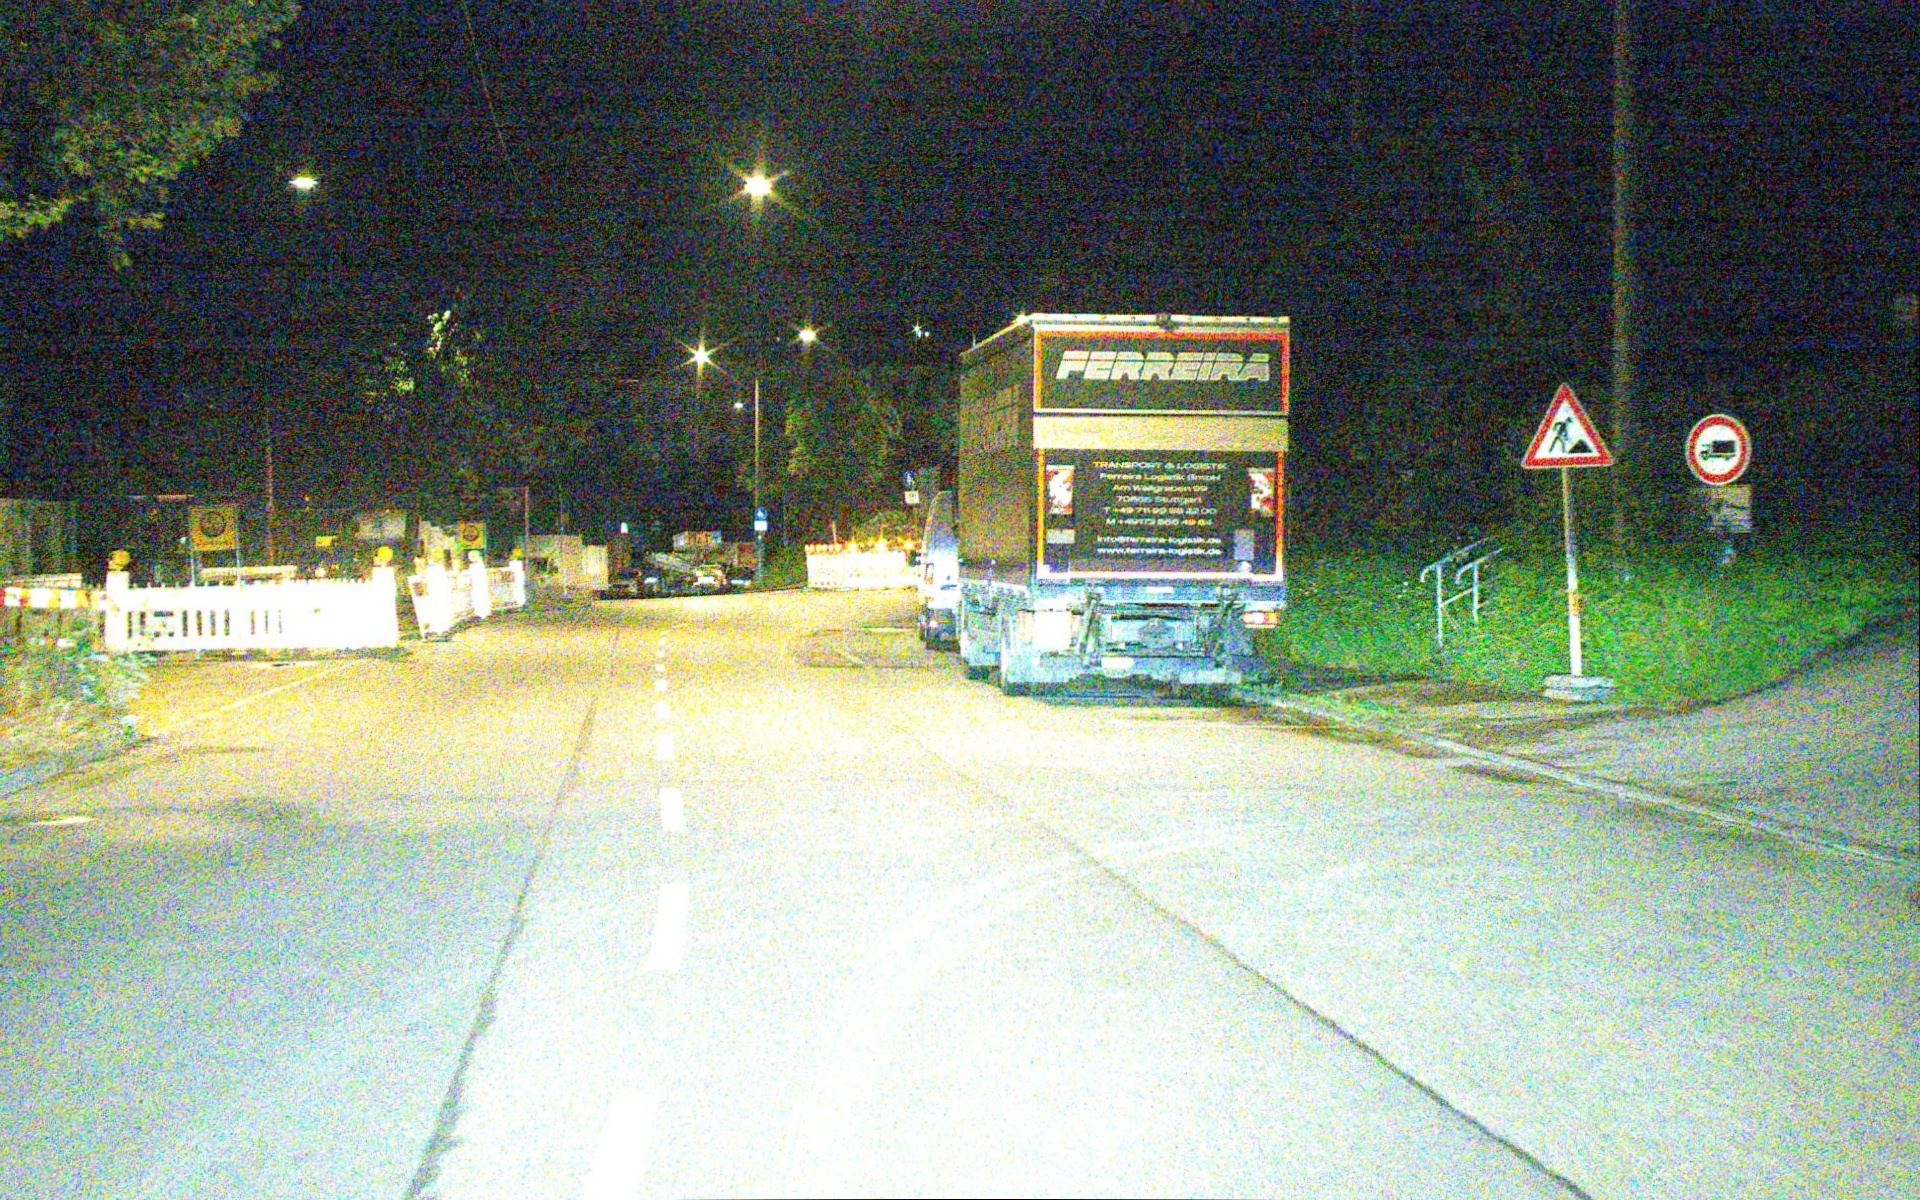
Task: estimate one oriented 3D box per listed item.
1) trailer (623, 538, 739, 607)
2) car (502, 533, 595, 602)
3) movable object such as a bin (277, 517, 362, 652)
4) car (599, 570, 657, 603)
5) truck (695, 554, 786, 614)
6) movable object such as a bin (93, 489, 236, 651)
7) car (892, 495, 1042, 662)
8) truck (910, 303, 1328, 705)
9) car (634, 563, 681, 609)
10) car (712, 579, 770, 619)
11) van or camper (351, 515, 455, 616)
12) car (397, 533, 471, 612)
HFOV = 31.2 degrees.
[{"bbox_3d":[-9.340,-0.915,114.768,1.559,2.153,5.221,-2,0,-32],"label":"trailer"},{"bbox_3d":[-19.787,-1.582,165.709,2.520,3.160,7.135,-2,1,9],"label":"car"},{"bbox_3d":[-13.715,-0.375,73.528,1.570,2.724,3.702,-3,2,-12],"label":"movable object such as a bin"},{"bbox_3d":[-17.549,-0.694,182.065,1.994,1.694,4.204,0,0,10],"label":"car"},{"bbox_3d":[-12.767,-0.975,200.410,1.995,3.392,8.971,1,1,19],"label":"truck"},{"bbox_3d":[-12.536,-0.465,54.077,1.548,2.459,2.840,-2,1,-26],"label":"movable object such as a bin"},{"bbox_3d":[0.045,-0.397,55.360,2.108,2.507,6.372,1,1,-2],"label":"car"},{"bbox_3d":[1.482,-0.983,37.963,3.323,3.855,9.329,1,1,-5],"label":"truck"},{"bbox_3d":[-11.369,-0.507,129.399,1.720,1.655,4.000,1,0,-4],"label":"car"},{"bbox_3d":[-10.055,-0.034,158.276,1.721,1.815,3.998,1,0,10],"label":"car"},{"bbox_3d":[-17.944,-1.117,111.161,2.518,3.084,7.446,-2,1,-4],"label":"van or camper"},{"bbox_3d":[-20.657,-1.076,135.279,2.518,2.917,7.203,-2,1,-6],"label":"car"}]
